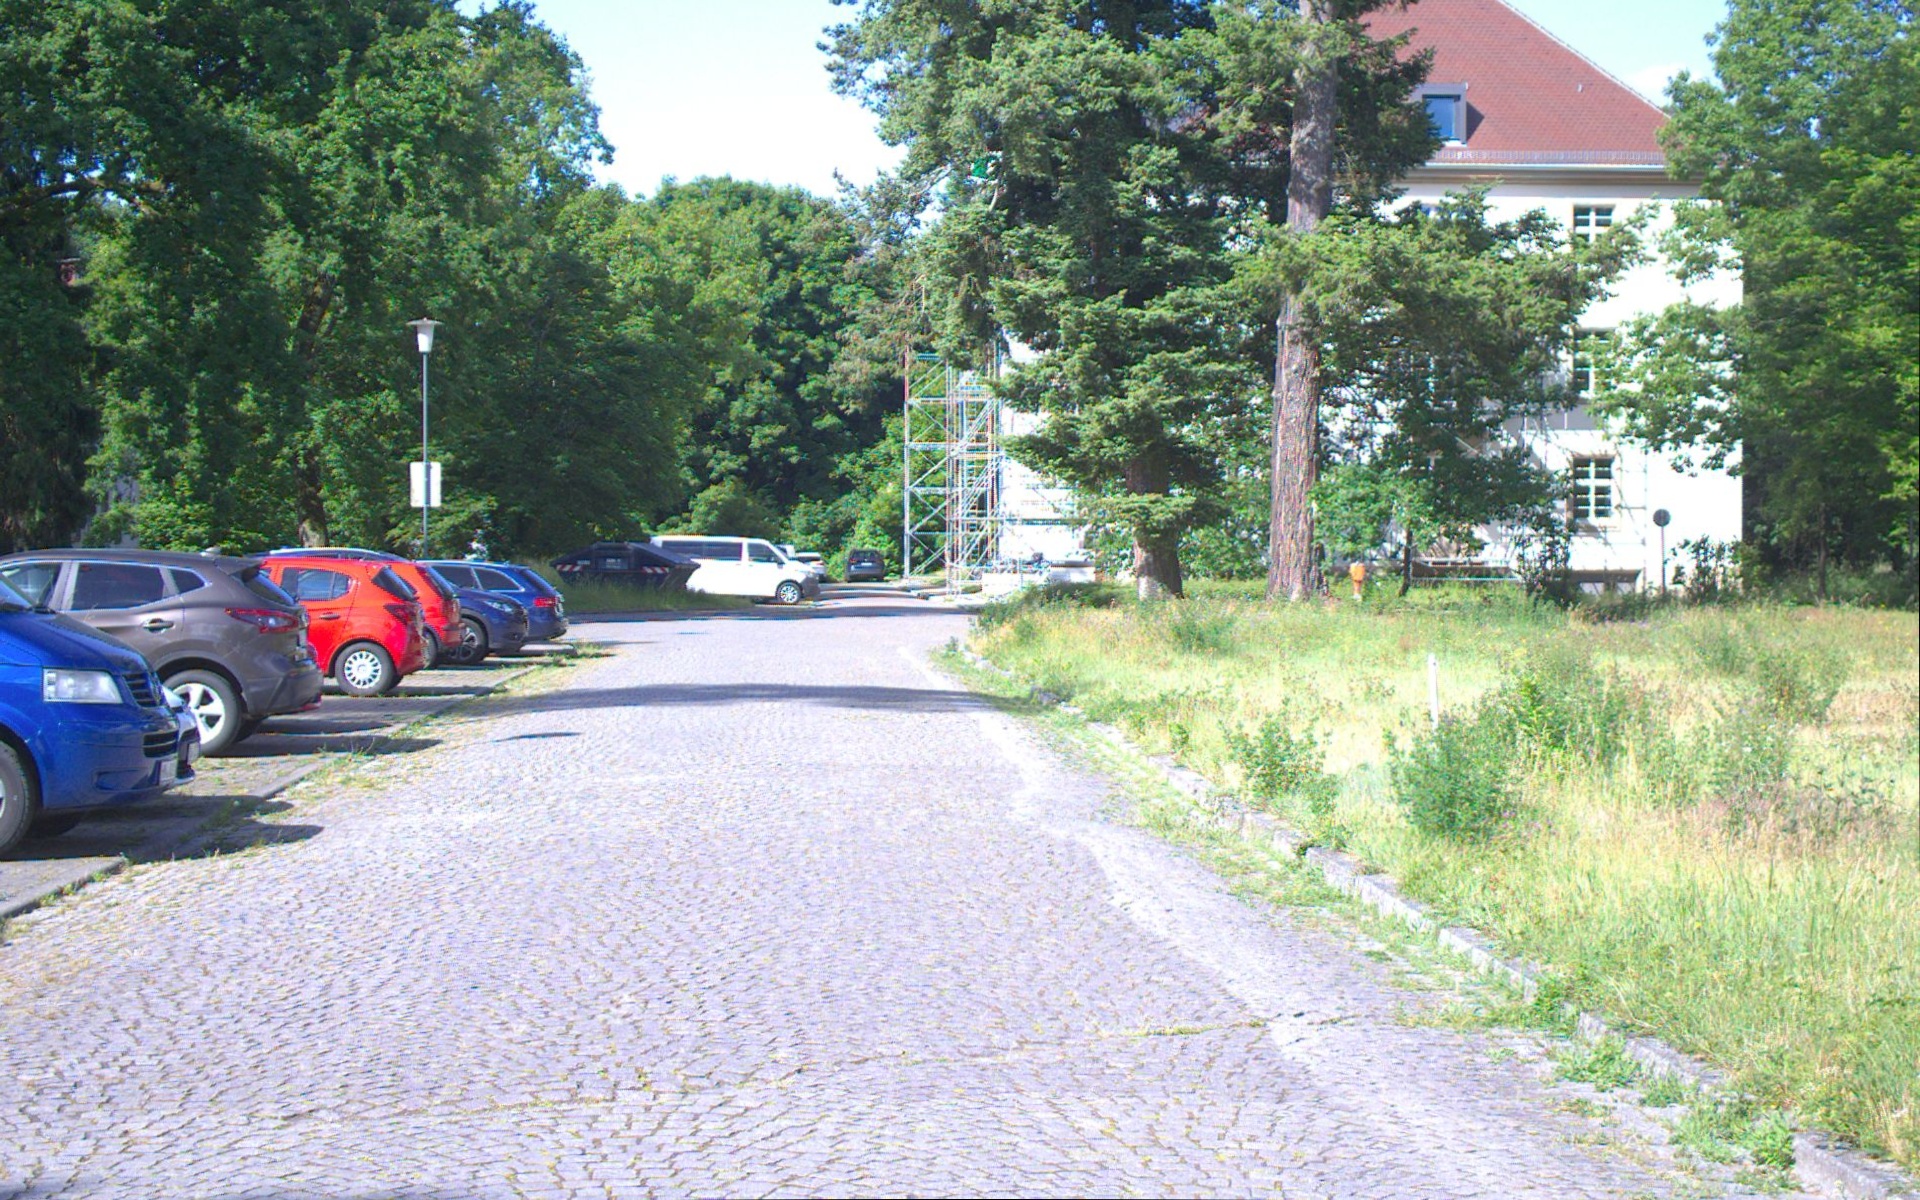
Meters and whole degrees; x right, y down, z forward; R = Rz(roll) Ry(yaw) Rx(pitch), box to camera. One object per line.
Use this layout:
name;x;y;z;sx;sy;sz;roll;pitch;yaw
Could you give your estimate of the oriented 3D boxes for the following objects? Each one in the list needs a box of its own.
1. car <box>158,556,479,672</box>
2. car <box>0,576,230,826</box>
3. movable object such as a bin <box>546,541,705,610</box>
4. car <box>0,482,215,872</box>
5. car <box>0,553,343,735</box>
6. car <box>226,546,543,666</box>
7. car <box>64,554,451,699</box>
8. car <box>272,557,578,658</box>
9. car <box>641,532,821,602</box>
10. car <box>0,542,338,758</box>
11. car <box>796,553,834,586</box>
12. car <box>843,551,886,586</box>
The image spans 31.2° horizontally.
car;-8.443;0.167;45.484;3.923;1.428;1.842;1;1;-1
car;-6.516;0.558;20.996;3.815;1.435;1.683;2;0;-5
movable object such as a bin;-8.584;-0.630;88.377;3.568;1.739;2.023;0;1;16
car;-6.559;0.324;18.380;4.717;1.961;2.006;2;0;-3
car;-7.488;0.350;30.028;3.922;1.444;1.867;2;1;-4
car;-7.974;0.067;47.901;4.134;1.574;1.885;1;1;-2
car;-7.632;0.272;37.627;3.922;1.456;1.842;1;1;-4
car;-8.148;0.105;52.582;4.359;1.440;1.921;1;1;0
car;-6.755;-0.973;101.557;5.234;2.009;1.950;0;1;-3
car;-7.065;0.354;27.311;3.953;1.562;1.974;2;1;-4
car;-7.079;-1.472;167.616;1.812;1.574;4.135;0;1;-3
car;-4.690;-1.535;168.012;1.970;1.662;4.087;0;1;-3
